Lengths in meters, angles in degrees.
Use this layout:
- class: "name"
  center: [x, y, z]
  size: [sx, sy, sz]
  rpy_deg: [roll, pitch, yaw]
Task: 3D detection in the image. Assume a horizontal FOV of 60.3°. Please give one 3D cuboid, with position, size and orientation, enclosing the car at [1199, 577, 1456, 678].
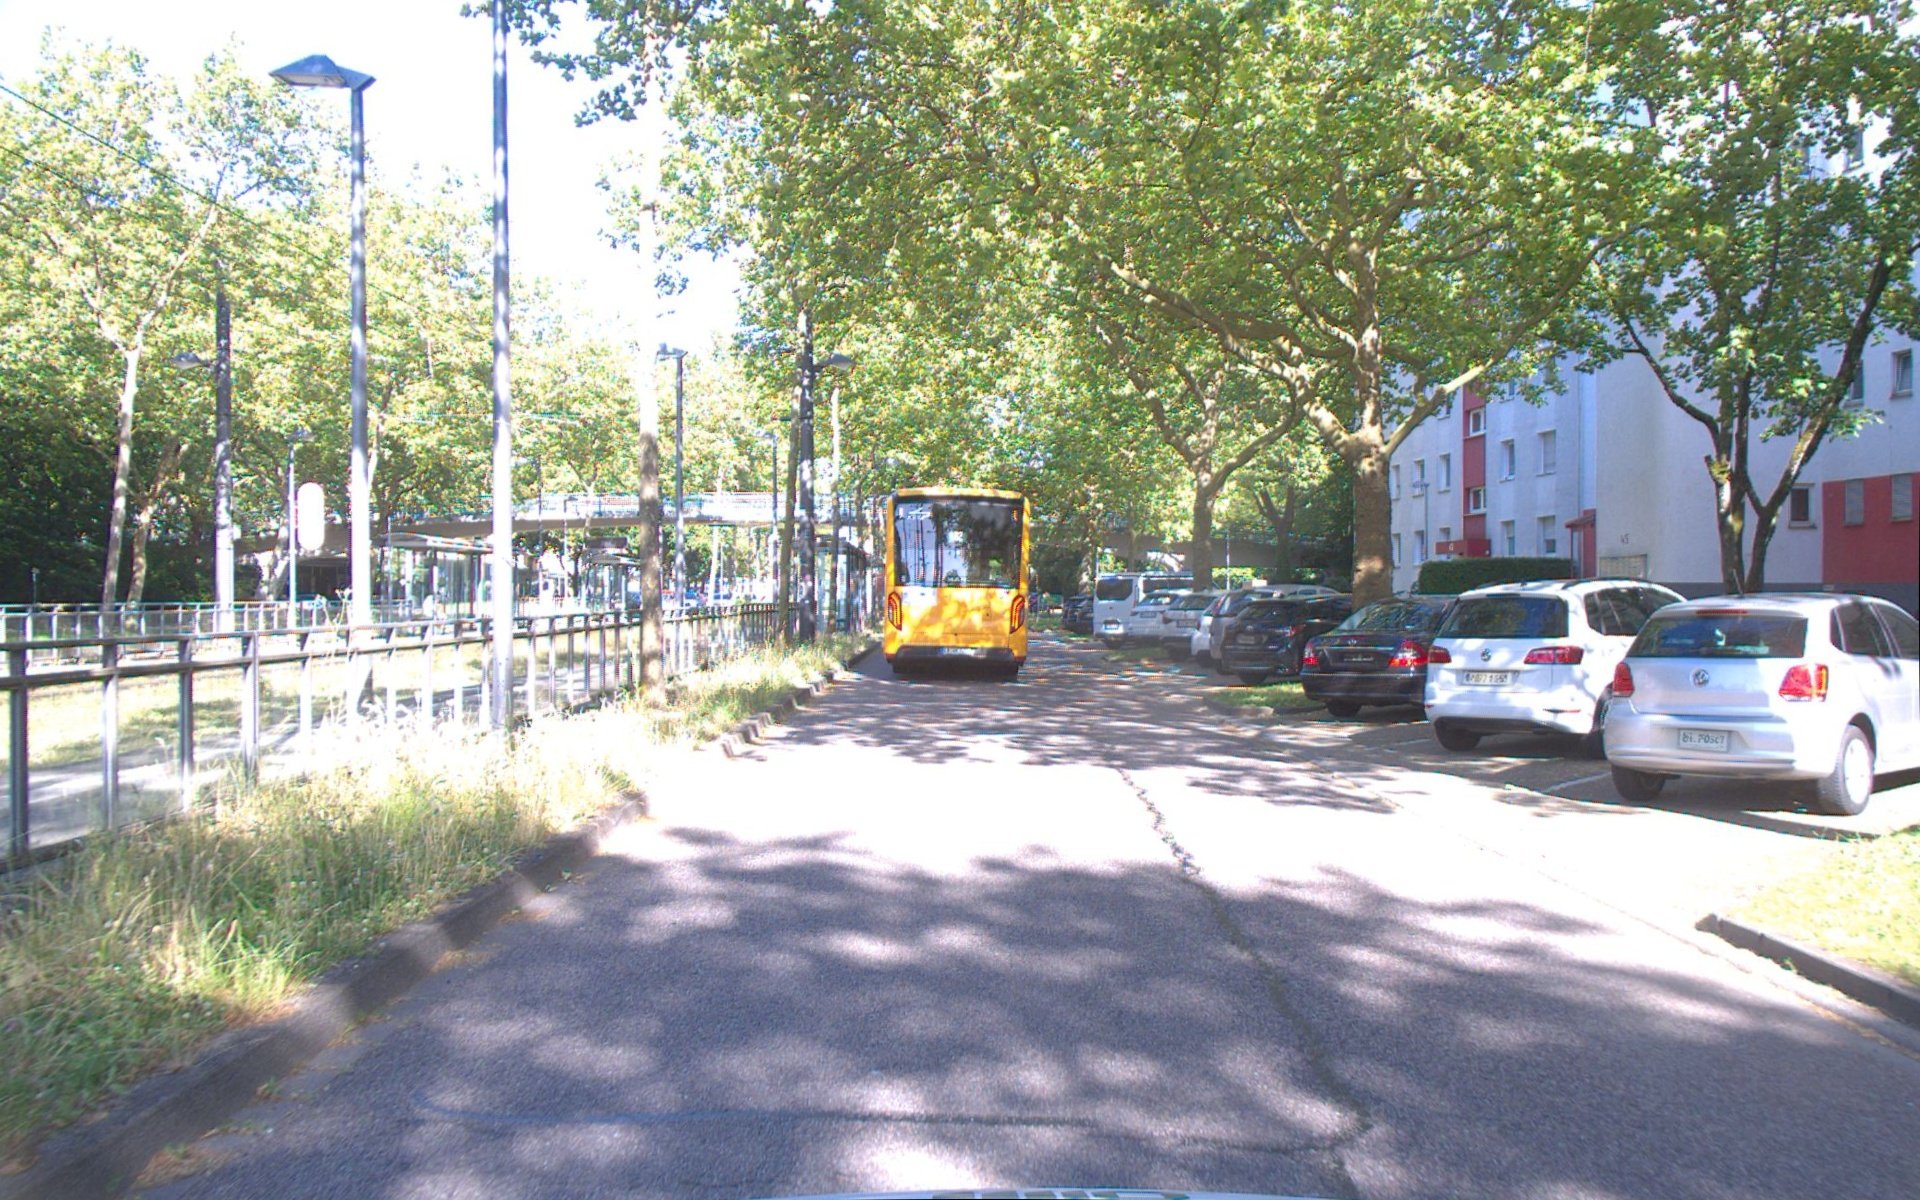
- class: "car"
  center: [6.198, 0.423, 27.648]
  size: [4.368, 1.453, 1.923]
  rpy_deg: [-3, 0, -40]

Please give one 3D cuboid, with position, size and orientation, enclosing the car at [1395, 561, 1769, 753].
- class: "car"
  center: [6.178, 0.467, 16.228]
  size: [3.965, 1.603, 1.773]
  rpy_deg: [-2, 1, -41]

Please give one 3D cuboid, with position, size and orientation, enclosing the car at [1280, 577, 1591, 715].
- class: "car"
  center: [5.986, 0.497, 20.490]
  size: [1.769, 1.447, 4.559]
  rpy_deg: [-1, 1, 44]

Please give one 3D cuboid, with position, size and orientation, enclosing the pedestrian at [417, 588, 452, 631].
- class: "pedestrian"
  center: [-14.884, 0.261, 46.873]
  size: [0.750, 1.204, 0.763]
  rpy_deg: [0, 0, 0]

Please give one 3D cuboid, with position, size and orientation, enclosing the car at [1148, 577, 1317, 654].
- class: "car"
  center: [6.188, 0.334, 37.252]
  size: [1.768, 1.536, 4.187]
  rpy_deg: [-2, 0, 42]

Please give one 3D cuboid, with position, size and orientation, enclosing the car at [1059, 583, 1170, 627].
- class: "car"
  center: [5.883, 0.182, 62.708]
  size: [4.219, 1.487, 1.773]
  rpy_deg: [-3, 0, -41]

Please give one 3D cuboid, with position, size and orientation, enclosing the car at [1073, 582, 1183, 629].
- class: "car"
  center: [6.071, 0.184, 59.560]
  size: [3.969, 1.493, 1.754]
  rpy_deg: [-3, 0, -44]

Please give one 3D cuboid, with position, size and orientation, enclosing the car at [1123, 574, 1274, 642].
- class: "car"
  center: [6.287, 0.190, 43.364]
  size: [4.027, 1.608, 1.803]
  rpy_deg: [-3, 0, -44]

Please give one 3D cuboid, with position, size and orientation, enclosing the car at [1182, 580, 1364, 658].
- class: "car"
  center: [6.523, 0.375, 34.231]
  size: [1.801, 1.444, 3.973]
  rpy_deg: [-2, 0, 44]

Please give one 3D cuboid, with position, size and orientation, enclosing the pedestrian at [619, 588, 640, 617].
- class: "pedestrian"
  center: [-14.423, 0.112, 72.188]
  size: [0.762, 1.259, 0.722]
  rpy_deg: [0, 0, -2]

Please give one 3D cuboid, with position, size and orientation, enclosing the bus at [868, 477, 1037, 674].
- class: "bus"
  center: [-0.258, -0.441, 34.079]
  size: [2.841, 3.324, 12.214]
  rpy_deg: [0, 0, -1]

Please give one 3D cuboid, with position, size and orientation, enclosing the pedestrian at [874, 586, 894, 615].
- class: "pedestrian"
  center: [-3.385, 0.002, 73.584]
  size: [0.837, 1.264, 0.850]
  rpy_deg: [1, 0, 1]

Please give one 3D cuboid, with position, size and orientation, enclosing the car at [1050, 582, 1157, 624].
- class: "car"
  center: [5.740, 0.120, 65.803]
  size: [4.219, 1.487, 1.773]
  rpy_deg: [-3, 0, -41]

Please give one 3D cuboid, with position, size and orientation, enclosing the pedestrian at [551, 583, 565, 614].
- class: "pedestrian"
  center: [-22.019, -0.069, 90.626]
  size: [0.635, 1.690, 0.649]
  rpy_deg: [0, 0, -5]

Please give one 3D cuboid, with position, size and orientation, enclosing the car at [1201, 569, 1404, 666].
- class: "car"
  center: [6.484, 0.304, 31.091]
  size: [3.969, 1.617, 1.771]
  rpy_deg: [-3, 0, -43]

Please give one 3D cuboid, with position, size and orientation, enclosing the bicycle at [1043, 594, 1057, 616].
- class: "bicycle"
  center: [5.171, 0.265, 95.128]
  size: [0.578, 1.203, 1.800]
  rpy_deg: [-3, 1, -1]

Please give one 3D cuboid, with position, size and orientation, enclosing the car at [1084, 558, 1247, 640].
- class: "car"
  center: [5.817, -0.044, 46.466]
  size: [4.549, 2.088, 1.988]
  rpy_deg: [-3, 0, -41]

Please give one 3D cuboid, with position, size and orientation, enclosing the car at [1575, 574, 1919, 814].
- class: "car"
  center: [6.439, 0.569, 12.421]
  size: [3.966, 1.469, 1.773]
  rpy_deg: [-2, 1, -42]

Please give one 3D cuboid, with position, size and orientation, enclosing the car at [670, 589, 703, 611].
- class: "car"
  center: [-20.247, -0.011, 122.707]
  size: [1.757, 1.608, 4.288]
  rpy_deg: [0, 0, 0]
